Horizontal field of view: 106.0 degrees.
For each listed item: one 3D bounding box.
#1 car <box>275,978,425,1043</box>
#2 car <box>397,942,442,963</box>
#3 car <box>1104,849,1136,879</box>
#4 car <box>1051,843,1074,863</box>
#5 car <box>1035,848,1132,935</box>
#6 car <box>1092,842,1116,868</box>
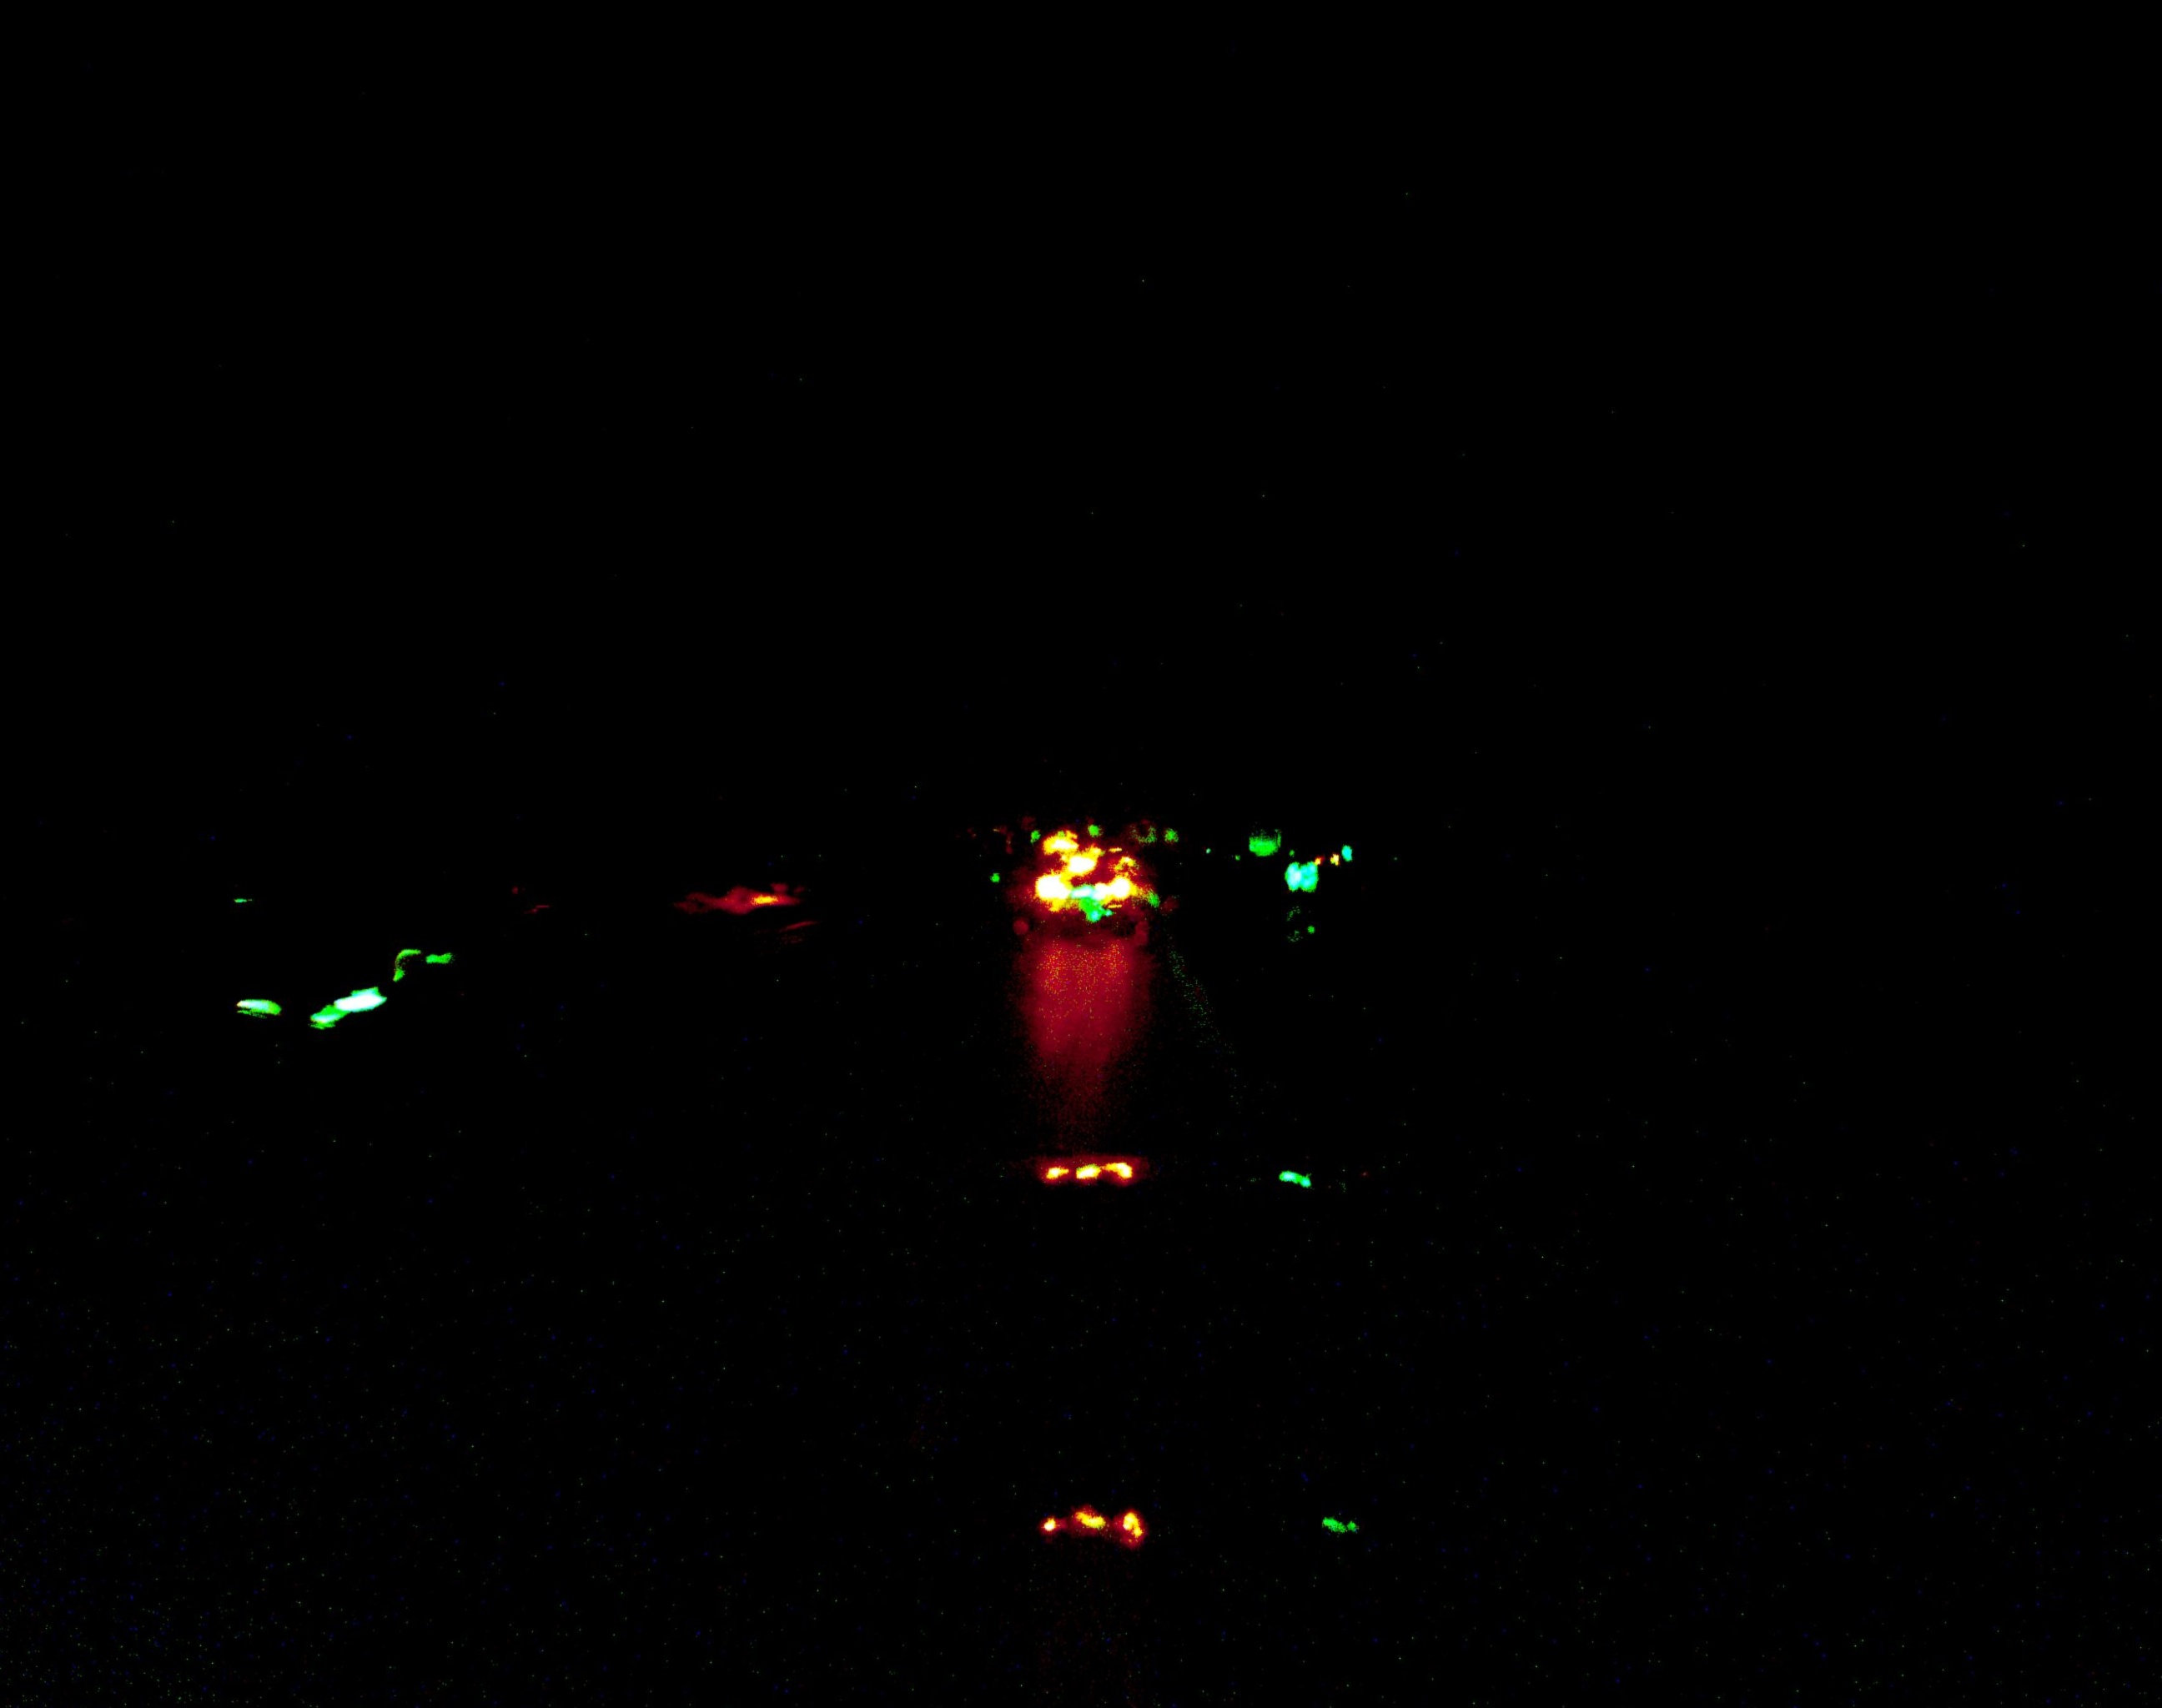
[{"bbox_3d":[-24.821,5.261,27.873,1.756,1.490,4.035,-4,-2,-7],"label":"car"},{"bbox_3d":[-52.083,7.704,64.116,4.046,1.425,1.757,-4,-2,36],"label":"car"},{"bbox_3d":[2.345,0.636,49.627,1.888,1.720,4.047,-1,-1,2],"label":"car"},{"bbox_3d":[-1.992,-0.057,87.127,1.896,1.998,4.031,-1,-1,-10],"label":"car"},{"bbox_3d":[0.098,0.728,17.827,1.854,1.647,4.070,-1,0,1],"label":"car"},{"bbox_3d":[1.873,0.099,66.276,1.888,2.040,4.047,-1,-1,2],"label":"car"}]
